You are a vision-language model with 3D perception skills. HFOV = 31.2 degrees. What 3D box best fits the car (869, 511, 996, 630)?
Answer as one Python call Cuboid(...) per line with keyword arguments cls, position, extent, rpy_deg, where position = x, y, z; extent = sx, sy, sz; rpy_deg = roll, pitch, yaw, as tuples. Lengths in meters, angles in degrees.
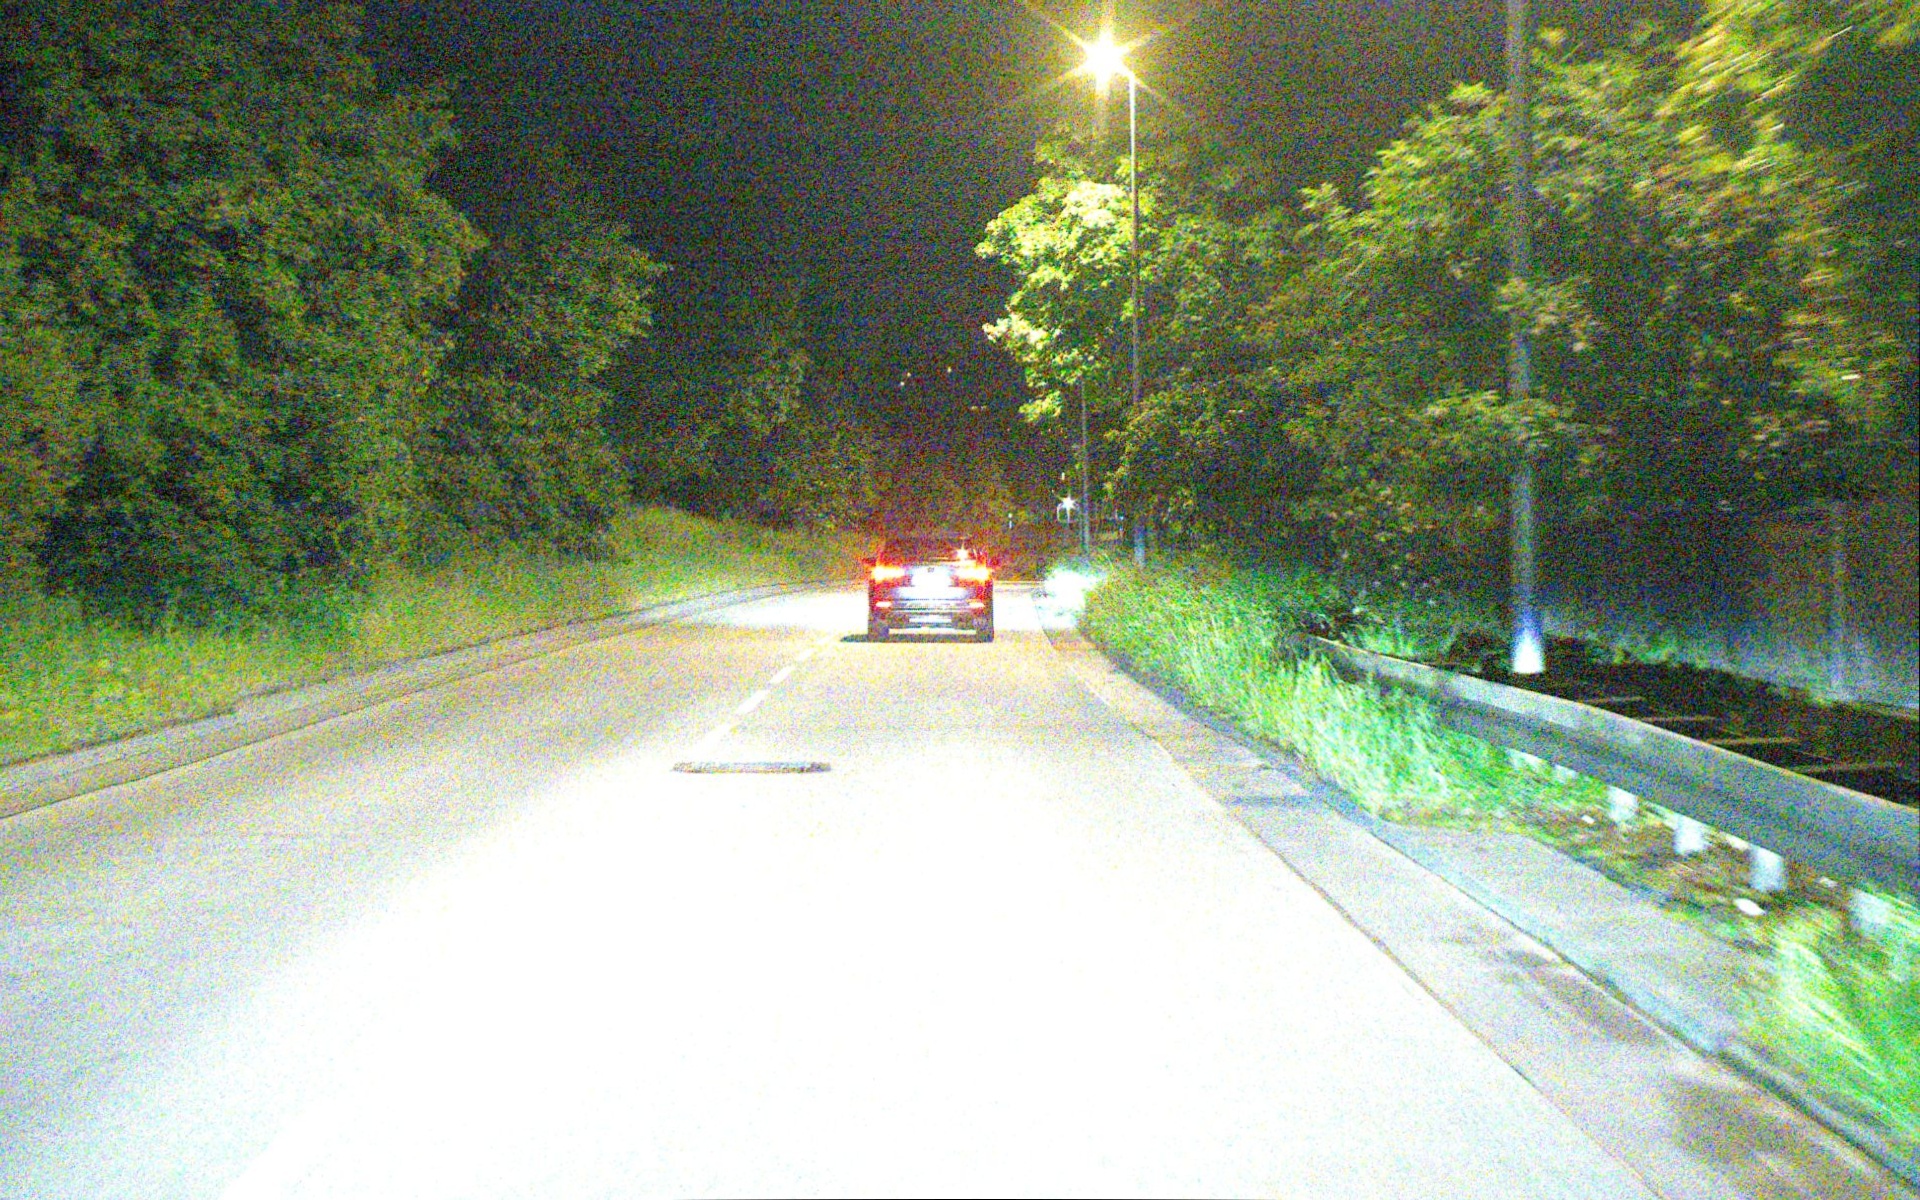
Cuboid(cls="car", position=(-0.389, -0.458, 49.867), extent=(1.763, 1.636, 3.723), rpy_deg=(1, 2, 0))
